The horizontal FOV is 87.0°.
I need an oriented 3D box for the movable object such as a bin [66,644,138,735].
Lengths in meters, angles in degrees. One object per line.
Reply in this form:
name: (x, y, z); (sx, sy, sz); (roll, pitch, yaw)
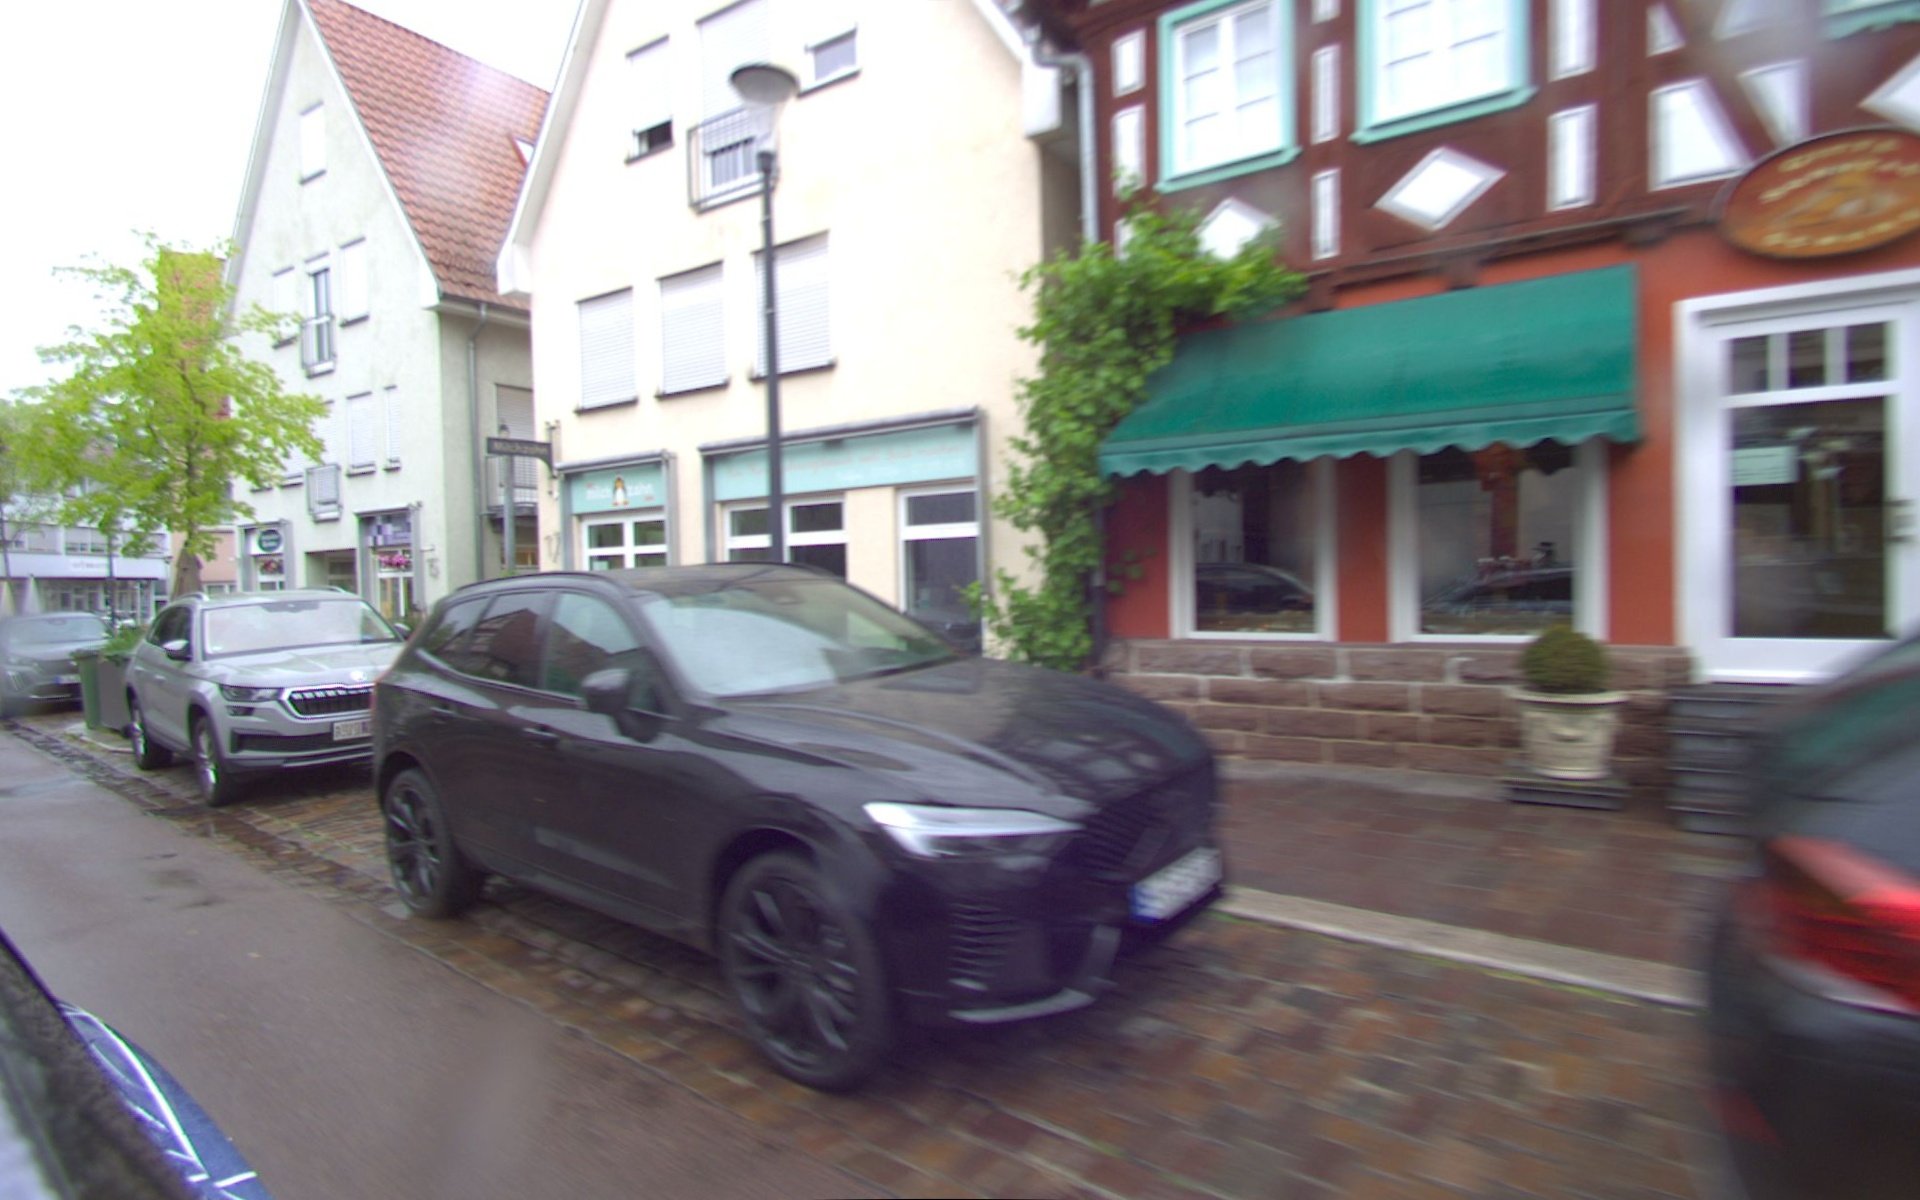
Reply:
movable object such as a bin: (-11.149, 1.141, 13.152); (0.725, 1.087, 0.614); (0, 1, 42)

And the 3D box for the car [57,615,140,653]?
car: (-43.084, 1.667, 50.721); (1.666, 1.702, 4.292); (-1, 1, -18)

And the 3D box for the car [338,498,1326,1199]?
car: (-0.941, 0.585, 4.560); (4.536, 1.687, 1.815); (0, 1, 40)

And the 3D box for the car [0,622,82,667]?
car: (-40.795, 1.920, 44.532); (1.667, 1.702, 3.969); (-1, 1, -15)

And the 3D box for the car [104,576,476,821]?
car: (-6.327, 0.685, 9.331); (4.479, 1.687, 1.753); (0, 3, 42)

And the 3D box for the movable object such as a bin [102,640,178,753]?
movable object such as a bin: (-9.433, 1.091, 11.648); (0.523, 1.210, 0.595); (0, 1, 44)

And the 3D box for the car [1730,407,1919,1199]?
car: (3.362, 0.497, 0.838); (4.278, 1.563, 1.815); (0, 1, 40)

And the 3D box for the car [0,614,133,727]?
car: (-15.029, 1.063, 16.674); (3.976, 1.557, 1.576); (0, 1, 42)

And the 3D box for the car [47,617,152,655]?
car: (-38.370, 1.565, 45.242); (1.967, 1.464, 4.011); (-1, 1, -13)

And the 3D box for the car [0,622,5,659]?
car: (-39.806, 1.656, 39.614); (1.667, 1.551, 4.416); (-1, -1, -15)

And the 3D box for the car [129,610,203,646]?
car: (-34.024, 1.170, 43.458); (1.666, 1.433, 3.829); (-1, 0, -25)

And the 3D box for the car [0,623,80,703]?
car: (-19.498, 1.269, 20.315); (4.618, 1.443, 1.785); (-3, 0, 36)
